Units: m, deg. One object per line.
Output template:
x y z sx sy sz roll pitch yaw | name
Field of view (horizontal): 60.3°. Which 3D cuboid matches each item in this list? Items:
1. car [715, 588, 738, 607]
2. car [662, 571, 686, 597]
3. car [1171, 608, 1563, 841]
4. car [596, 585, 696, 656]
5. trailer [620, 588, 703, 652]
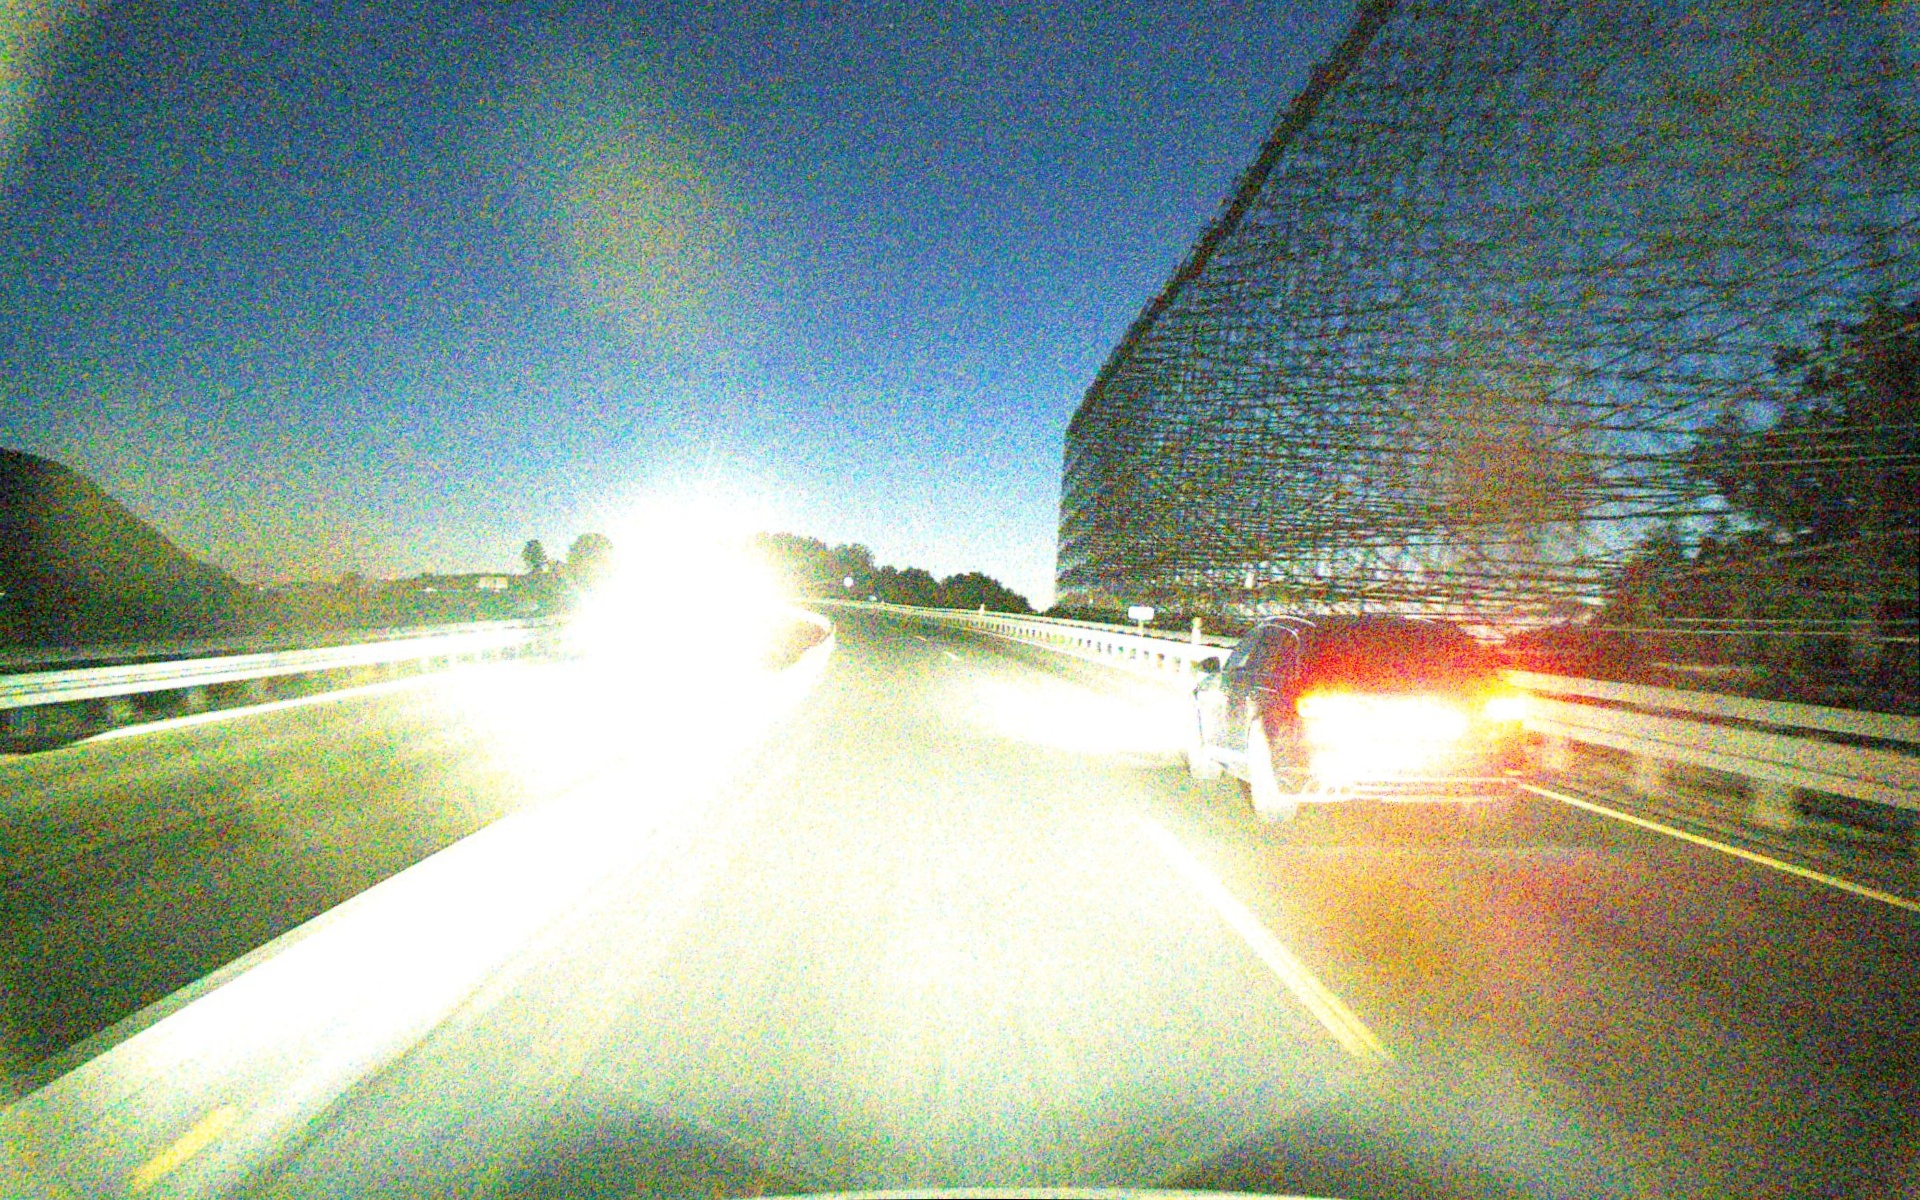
-19.395 -0.201 137.388 1.655 1.484 4.188 0 0 -12 | car
-36.797 -2.059 212.494 2.445 3.160 7.356 0 -1 -15 | car
2.904 0.800 12.961 1.771 1.451 4.873 0 0 -1 | car
-7.699 0.507 40.984 1.974 1.668 4.857 0 -1 -5 | car
-8.093 0.550 45.079 1.974 1.668 3.413 0 -1 -6 | trailer
